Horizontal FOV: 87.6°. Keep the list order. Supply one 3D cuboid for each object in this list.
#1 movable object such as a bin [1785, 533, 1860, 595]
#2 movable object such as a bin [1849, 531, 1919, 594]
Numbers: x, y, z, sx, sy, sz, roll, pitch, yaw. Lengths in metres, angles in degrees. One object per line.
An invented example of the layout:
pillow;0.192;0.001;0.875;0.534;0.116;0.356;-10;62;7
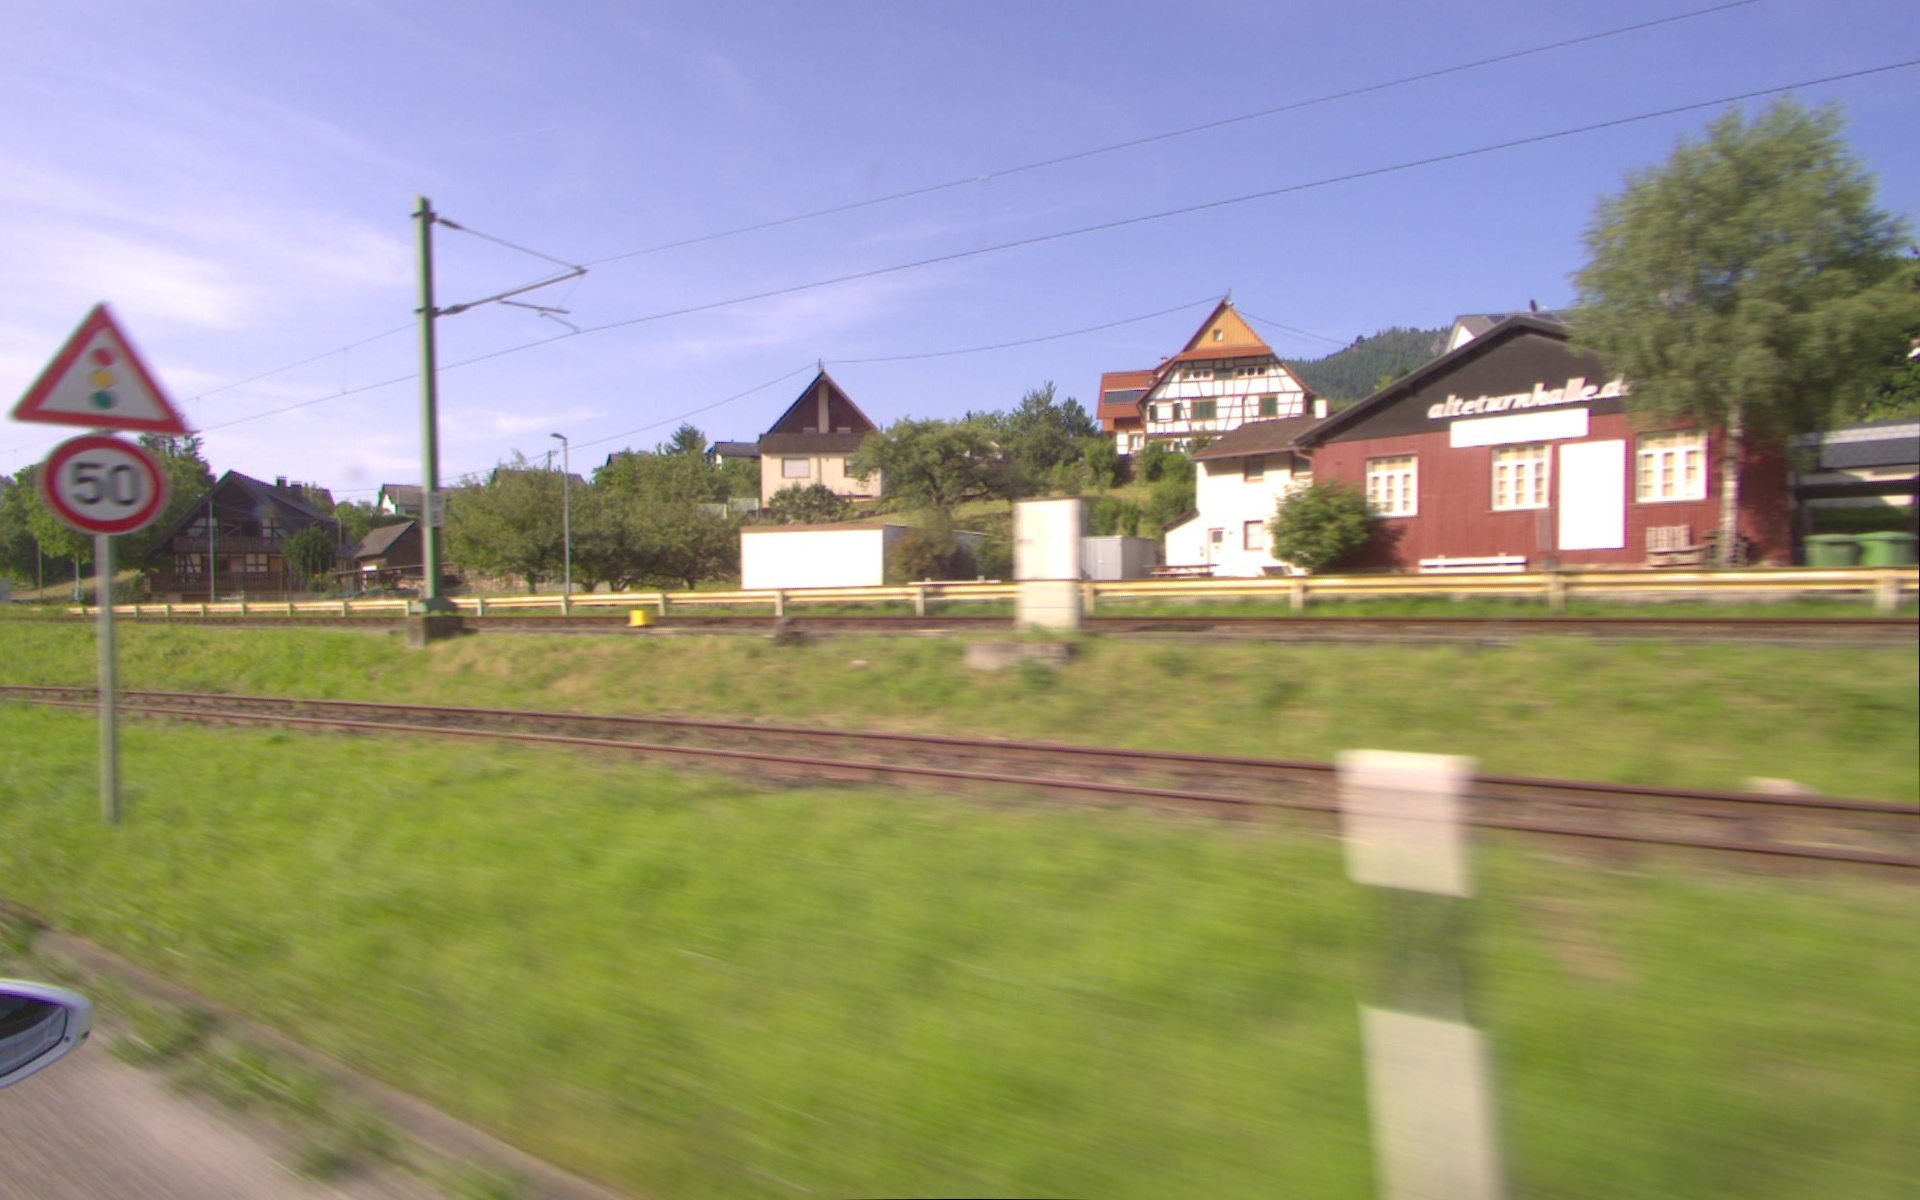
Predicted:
movable object such as a bin;15.671;-0.645;18.216;0.898;1.064;0.806;0;-1;32
movable object such as a bin;16.462;-0.647;17.753;0.898;1.064;0.806;0;-1;32
